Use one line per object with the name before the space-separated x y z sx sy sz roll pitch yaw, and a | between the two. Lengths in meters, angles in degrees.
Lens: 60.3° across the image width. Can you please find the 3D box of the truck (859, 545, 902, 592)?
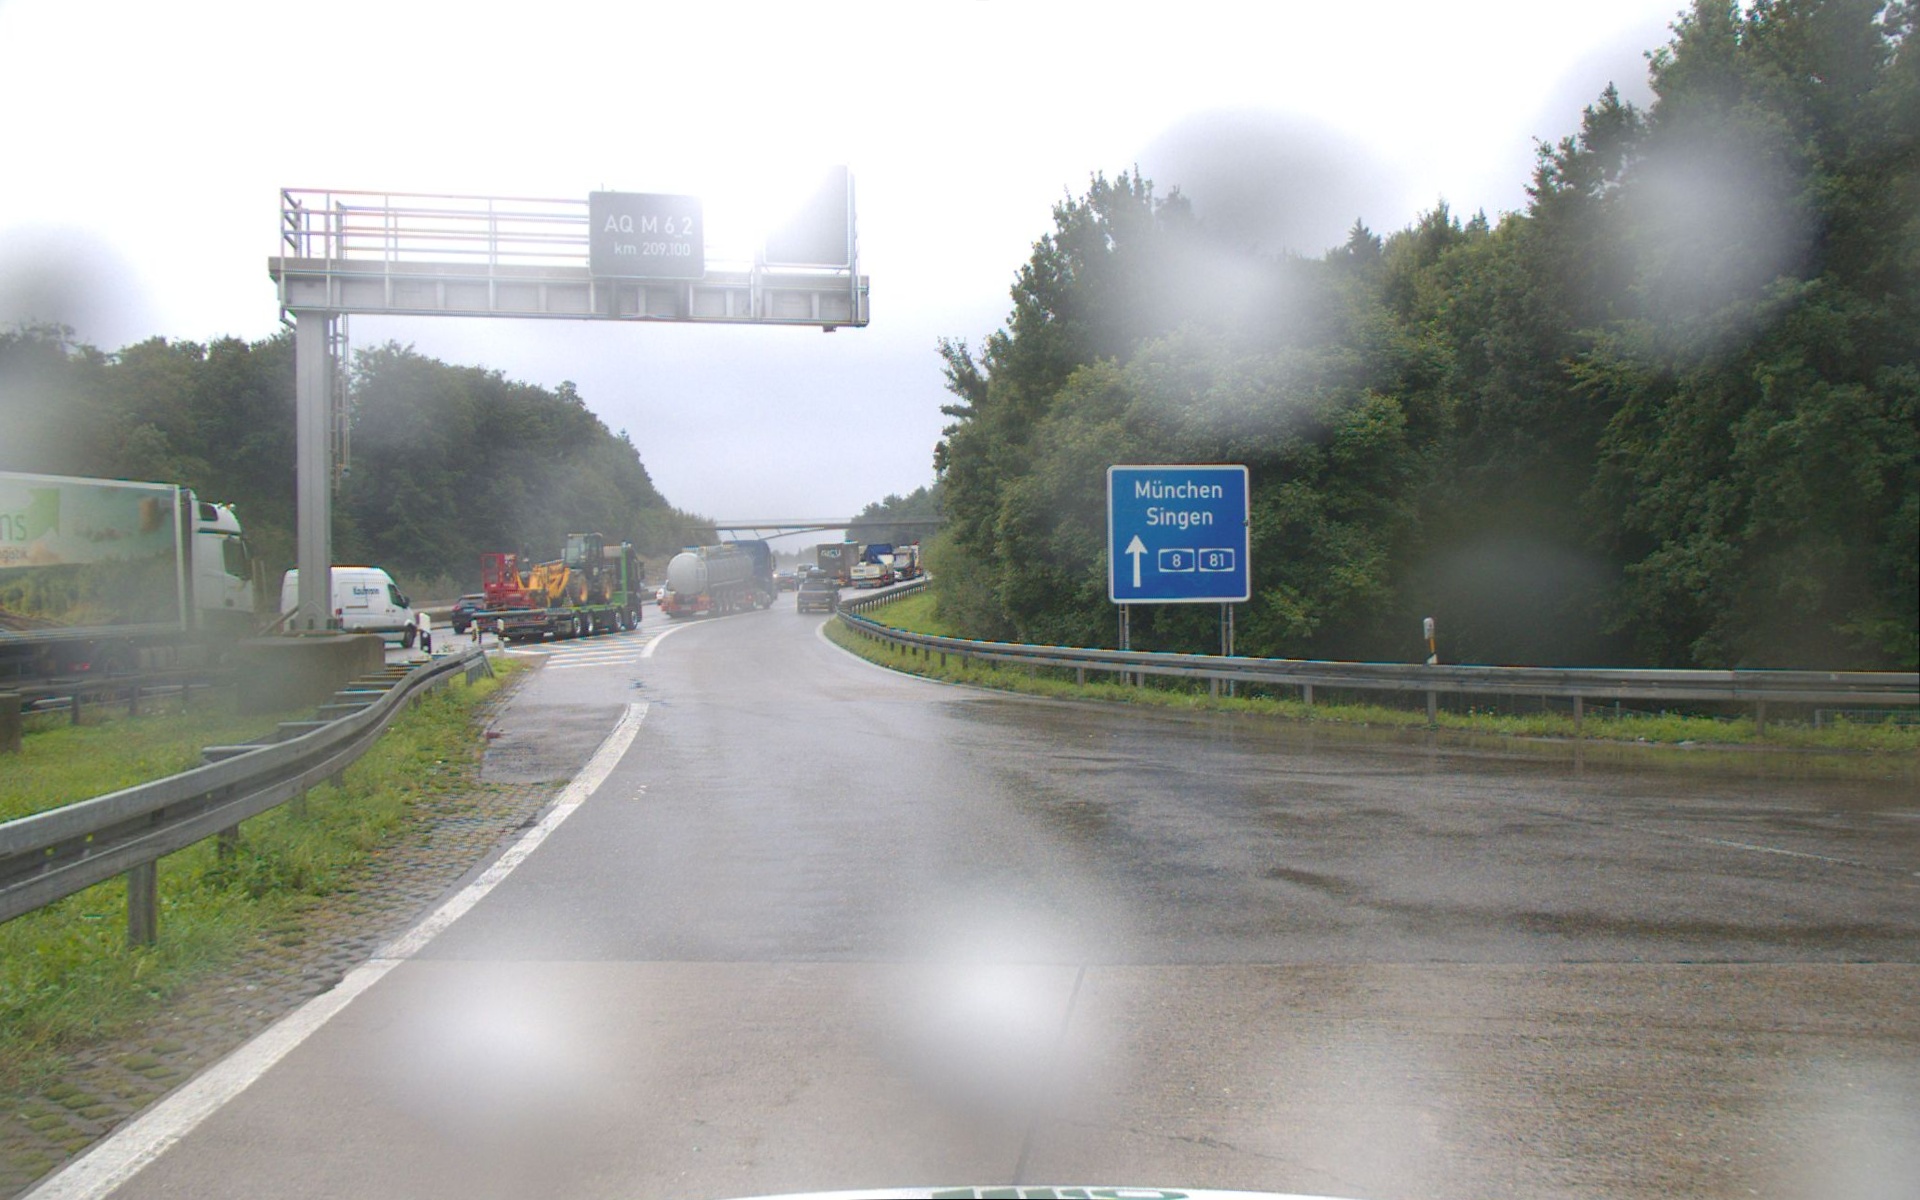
truck | -7.763 -3.010 162.647 3.435 4.342 10.603 1 0 1

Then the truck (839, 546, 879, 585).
truck | -11.815 -4.012 194.323 3.502 4.167 10.883 -2 0 3

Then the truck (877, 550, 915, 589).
truck | -7.101 -3.401 185.646 3.678 4.040 11.059 1 0 0

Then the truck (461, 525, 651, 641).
truck | -14.320 -0.673 60.000 2.771 3.651 11.807 -3 1 6

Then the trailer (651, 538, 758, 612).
trailer | -12.590 -1.315 82.675 2.813 3.345 10.086 -2 1 5

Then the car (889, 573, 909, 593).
car | -6.315 -1.740 172.579 1.760 1.937 4.001 -2 0 1

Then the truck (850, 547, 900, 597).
truck | -7.485 -2.528 147.143 3.526 4.176 11.562 -2 1 1

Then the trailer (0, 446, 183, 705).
trailer | -17.488 -0.336 25.669 2.856 4.278 13.647 -2 0 7

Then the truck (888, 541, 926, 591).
truck | -6.634 -4.193 207.995 4.247 5.864 9.731 1 0 0

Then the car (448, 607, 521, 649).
car | -20.676 1.194 72.075 1.748 1.757 4.002 1 0 4

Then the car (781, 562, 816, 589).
car | -19.334 -2.891 198.608 3.179 3.055 6.775 1 0 2

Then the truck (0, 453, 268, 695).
truck | -16.680 -0.450 32.180 2.856 4.170 6.724 -2 0 7

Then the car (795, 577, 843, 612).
car | -7.127 -0.277 83.876 1.952 1.665 4.001 1 0 2

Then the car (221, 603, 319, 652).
car | -26.678 1.033 64.083 1.738 1.735 4.003 -2 1 6

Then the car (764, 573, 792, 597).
car | -15.888 -1.297 144.268 1.760 1.937 4.001 -2 0 2

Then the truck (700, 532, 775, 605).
truck | -11.961 -1.731 89.376 2.816 3.757 5.060 -2 1 5

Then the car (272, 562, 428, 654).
car | -19.134 0.186 52.224 2.168 2.675 5.848 -2 1 6

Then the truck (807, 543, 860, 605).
truck | -11.981 -2.347 157.229 3.676 5.595 10.176 1 0 3
